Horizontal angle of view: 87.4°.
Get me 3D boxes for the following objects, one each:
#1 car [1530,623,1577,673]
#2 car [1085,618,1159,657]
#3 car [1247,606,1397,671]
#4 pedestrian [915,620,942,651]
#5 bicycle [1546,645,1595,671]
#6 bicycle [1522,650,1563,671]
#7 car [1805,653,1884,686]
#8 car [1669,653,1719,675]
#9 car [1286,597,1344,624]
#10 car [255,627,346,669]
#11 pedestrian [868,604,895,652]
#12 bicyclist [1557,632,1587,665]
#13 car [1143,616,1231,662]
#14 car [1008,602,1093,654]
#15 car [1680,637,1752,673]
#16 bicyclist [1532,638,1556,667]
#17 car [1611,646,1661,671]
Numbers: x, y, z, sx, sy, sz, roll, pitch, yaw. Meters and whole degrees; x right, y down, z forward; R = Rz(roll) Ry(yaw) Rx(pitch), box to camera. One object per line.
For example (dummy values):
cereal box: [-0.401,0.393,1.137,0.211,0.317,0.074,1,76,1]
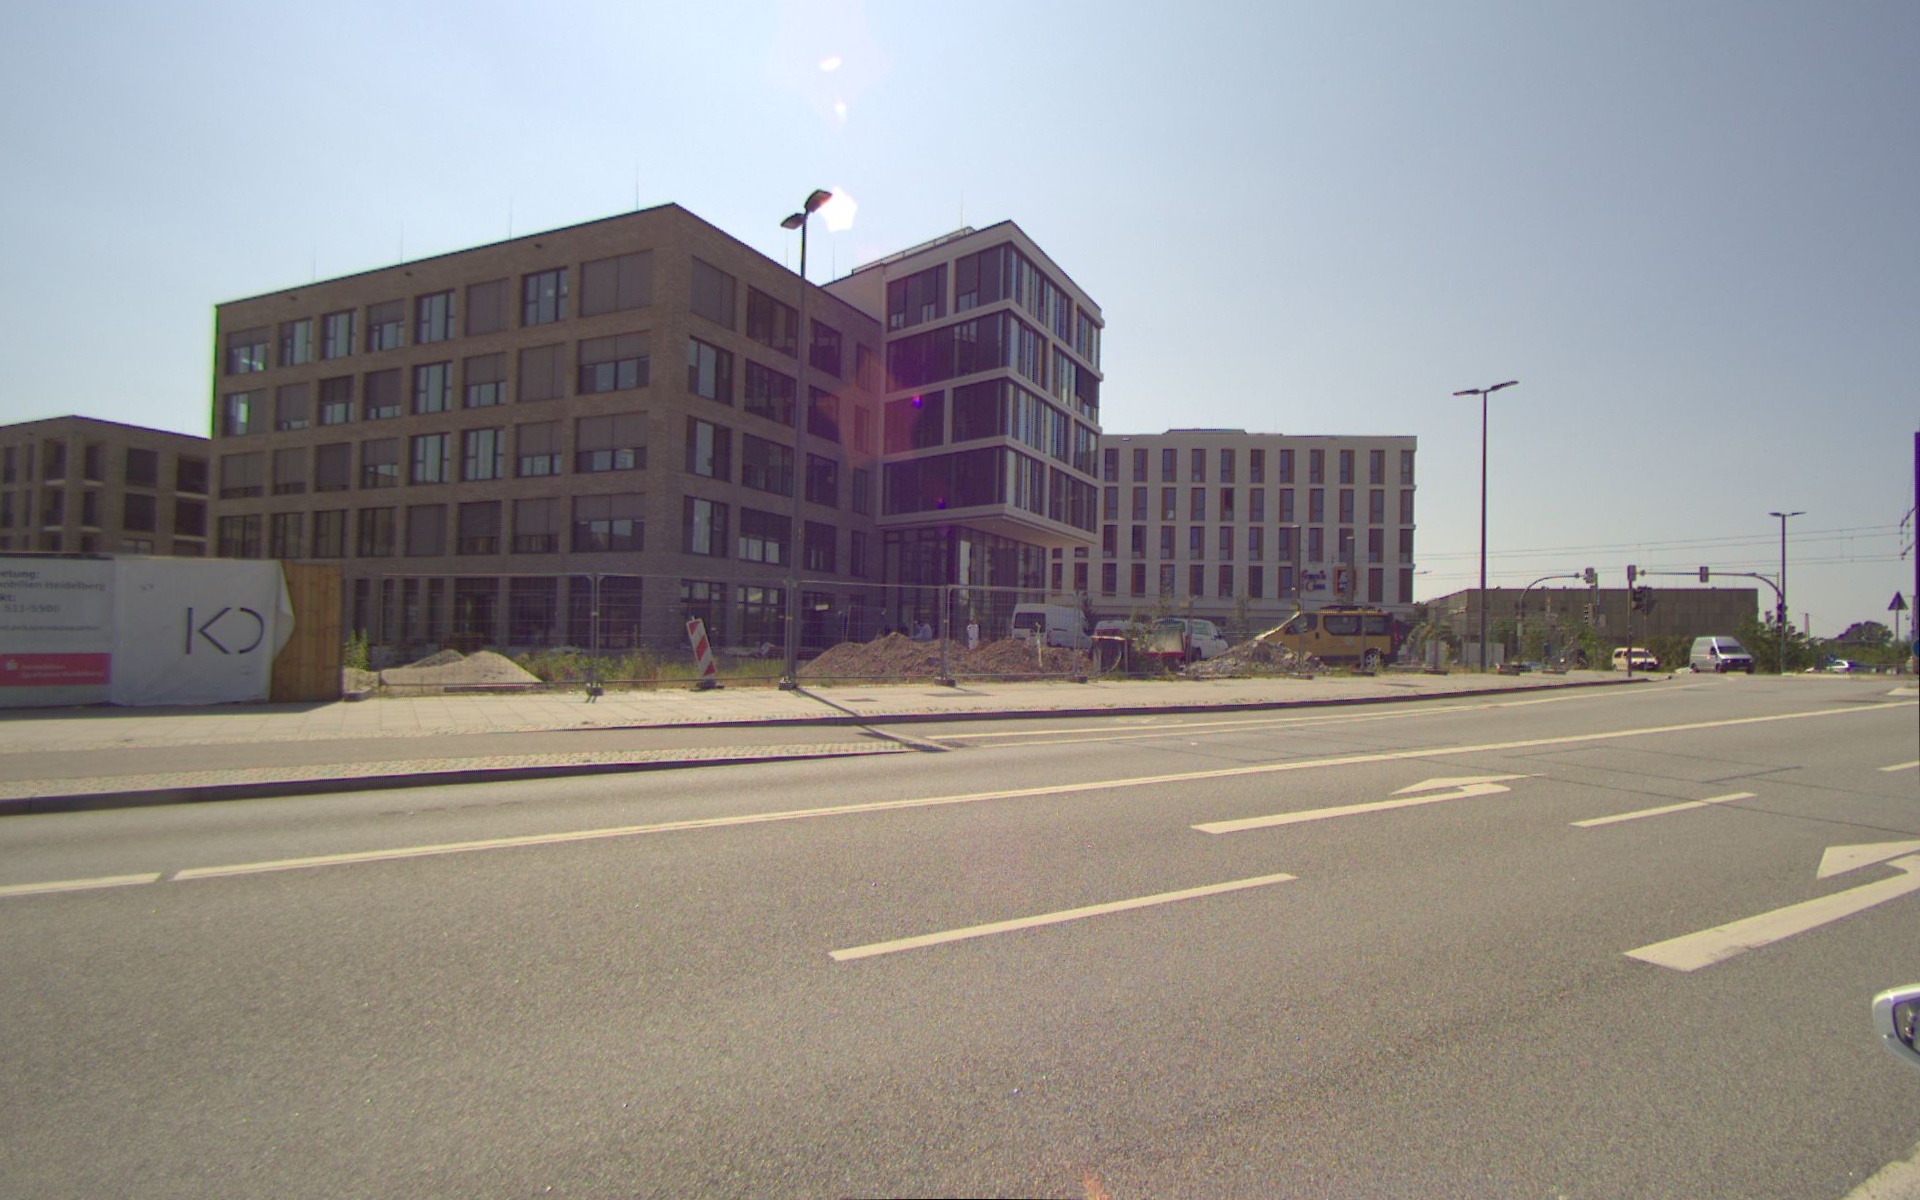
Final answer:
car: [26.333,2.087,44.567,1.646,2.040,3.991,2,0,31]
car: [7.108,1.604,43.732,1.773,1.528,3.991,2,0,31]
car: [12.072,1.251,33.763,4.395,1.915,2.001,2,0,8]
pedestrian: [-1.503,1.705,48.296,1.099,1.391,0.742,2,0,-17]
bicycle: [30.246,2.861,49.810,0.665,1.142,2.361,2,0,-9]
bicycle: [33.799,3.532,58.310,0.714,1.148,2.532,1,-4,-4]
car: [60.798,4.747,69.125,1.960,2.040,4.001,1,-1,1]
car: [64.441,5.618,88.246,1.796,1.666,4.212,2,0,10]
car: [28.920,0.861,81.893,1.986,2.040,3.949,2,0,-43]
car: [-30.375,2.185,46.246,3.708,1.675,1.834,2,0,26]
pedestrian: [-3.415,1.218,43.543,0.949,2.040,0.940,2,0,-17]
bicyclist: [30.318,2.387,49.768,0.808,1.589,0.947,2,0,-9]
car: [9.576,1.621,42.112,1.969,1.730,4.546,2,0,35]
car: [4.063,1.231,44.666,2.175,2.083,4.164,2,0,30]
car: [50.078,3.616,66.666,1.761,2.147,4.843,2,0,10]
bicyclist: [33.808,3.020,58.121,0.847,1.580,0.824,2,0,-5]
car: [48.233,4.144,71.720,1.606,1.544,3.500,2,0,9]
